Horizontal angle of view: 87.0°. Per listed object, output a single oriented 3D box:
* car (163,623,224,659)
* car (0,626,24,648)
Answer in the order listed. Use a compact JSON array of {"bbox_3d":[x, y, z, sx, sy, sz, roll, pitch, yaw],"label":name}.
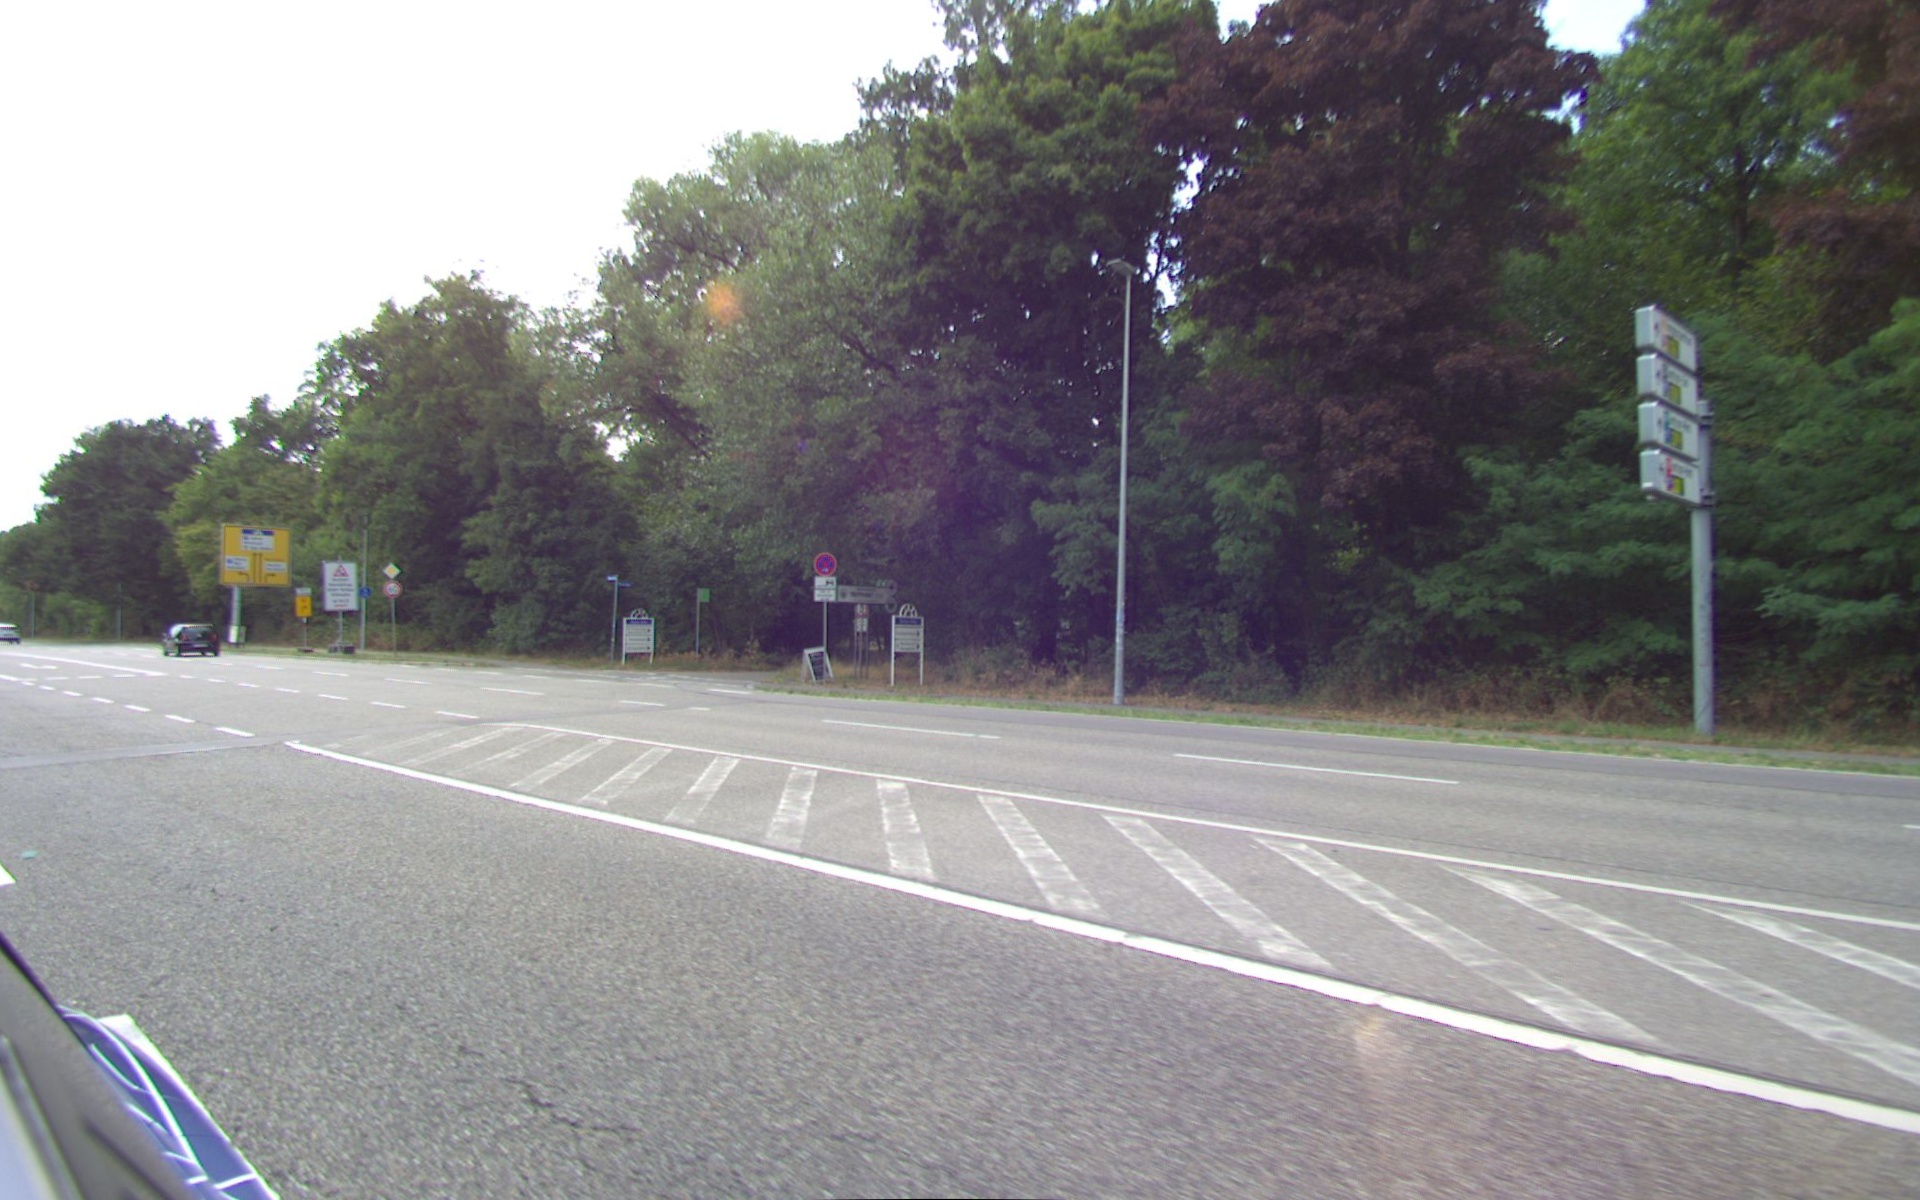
[{"bbox_3d":[-35.217,1.844,46.451,1.721,1.486,4.002,-1,1,-45],"label":"car"},{"bbox_3d":[-74.204,2.857,78.342,4.587,1.511,1.915,-1,1,39],"label":"car"}]
